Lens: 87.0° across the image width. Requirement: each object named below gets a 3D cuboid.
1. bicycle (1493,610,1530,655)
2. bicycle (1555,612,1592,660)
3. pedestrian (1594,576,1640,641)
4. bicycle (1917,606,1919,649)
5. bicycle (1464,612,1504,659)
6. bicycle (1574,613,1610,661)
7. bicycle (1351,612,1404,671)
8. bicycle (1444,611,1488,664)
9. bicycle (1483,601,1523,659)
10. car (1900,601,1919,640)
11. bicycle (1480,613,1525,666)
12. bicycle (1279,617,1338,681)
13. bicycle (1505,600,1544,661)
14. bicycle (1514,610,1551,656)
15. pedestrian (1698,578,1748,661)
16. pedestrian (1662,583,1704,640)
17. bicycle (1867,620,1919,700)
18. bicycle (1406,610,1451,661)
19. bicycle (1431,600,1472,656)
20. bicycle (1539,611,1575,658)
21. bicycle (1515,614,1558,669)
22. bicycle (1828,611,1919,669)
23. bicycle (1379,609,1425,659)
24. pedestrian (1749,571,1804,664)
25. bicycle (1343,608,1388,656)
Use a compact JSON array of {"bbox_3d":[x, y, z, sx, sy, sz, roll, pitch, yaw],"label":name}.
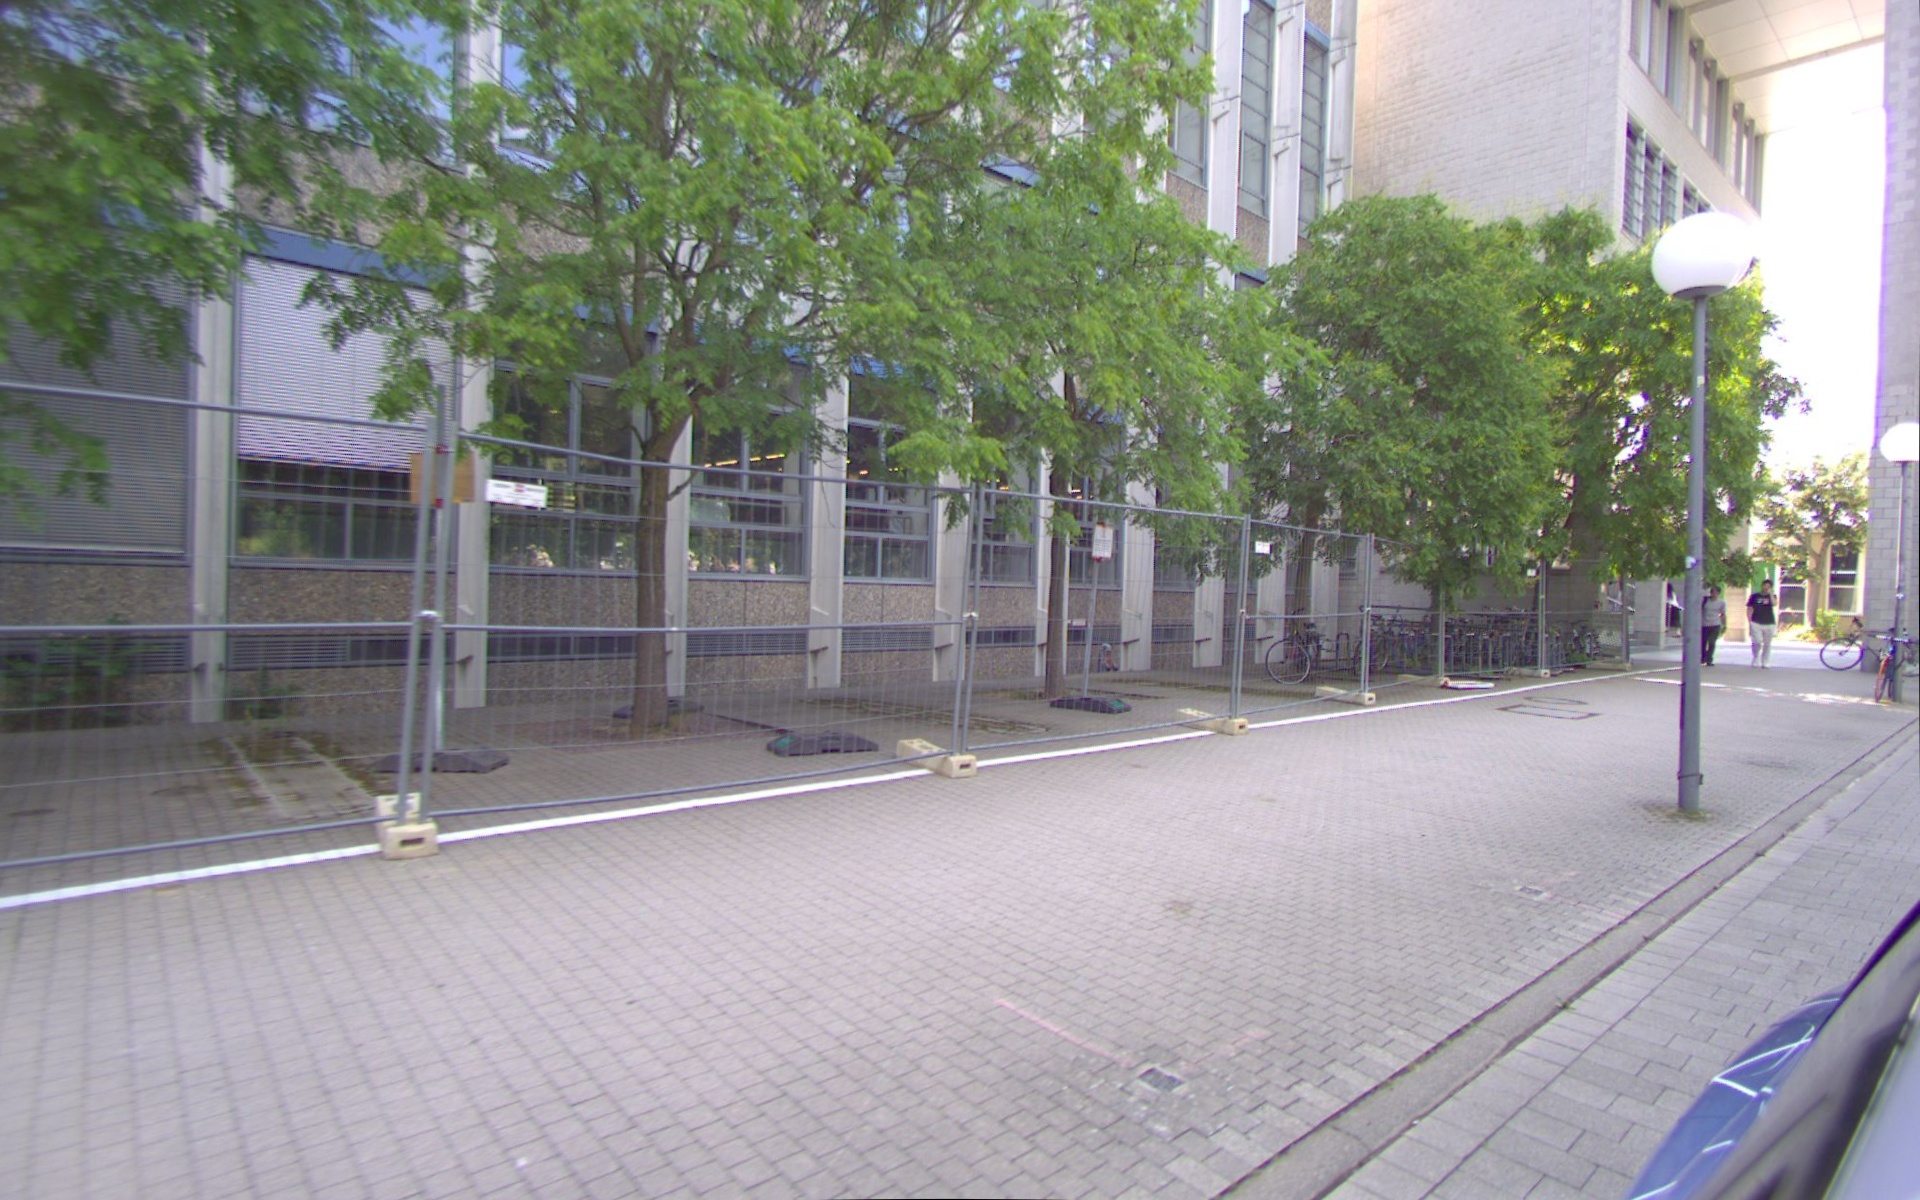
[{"bbox_3d":[11.738,0.684,21.512,0.291,0.917,1.424,2,1,45],"label":"bicycle"},{"bbox_3d":[12.430,0.713,20.491,0.291,0.917,1.424,2,1,45],"label":"bicycle"},{"bbox_3d":[19.005,0.246,29.266,0.757,1.837,0.958,0,0,-43],"label":"pedestrian"},{"bbox_3d":[27.662,0.824,27.845,1.881,1.178,0.595,4,2,44],"label":"bicycle"},{"bbox_3d":[10.606,0.710,20.472,0.291,0.898,1.424,2,1,45],"label":"bicycle"},{"bbox_3d":[12.643,0.728,20.229,0.291,0.917,1.424,2,1,45],"label":"bicycle"},{"bbox_3d":[6.997,0.665,16.933,0.290,0.917,1.779,2,1,40],"label":"bicycle"},{"bbox_3d":[9.329,0.678,18.636,0.291,0.917,1.424,2,1,45],"label":"bicycle"},{"bbox_3d":[10.843,0.584,20.211,0.291,1.108,1.424,2,1,45],"label":"bicycle"},{"bbox_3d":[39.075,0.853,39.187,1.625,1.494,3.774,-2,3,-41],"label":"car"},{"bbox_3d":[9.787,0.695,18.241,0.291,0.917,1.424,2,1,45],"label":"bicycle"},{"bbox_3d":[5.382,0.735,15.592,0.290,0.917,1.595,2,1,40],"label":"bicycle"},{"bbox_3d":[11.137,0.584,19.948,0.291,1.142,1.424,2,1,45],"label":"bicycle"},{"bbox_3d":[12.011,0.687,21.207,0.291,0.917,1.424,2,1,45],"label":"bicycle"},{"bbox_3d":[15.918,0.397,21.137,0.697,1.676,0.873,2,0,31],"label":"pedestrian"},{"bbox_3d":[21.459,0.338,30.053,0.797,1.637,0.736,2,1,19],"label":"pedestrian"},{"bbox_3d":[13.854,0.851,14.898,1.827,1.052,0.538,0,2,-42],"label":"bicycle"},{"bbox_3d":[8.857,0.657,19.120,0.291,0.917,1.424,2,1,45],"label":"bicycle"},{"bbox_3d":[10.187,0.570,20.958,0.291,1.113,1.424,2,1,45],"label":"bicycle"},{"bbox_3d":[12.301,0.701,20.847,0.291,0.917,1.424,2,1,45],"label":"bicycle"},{"bbox_3d":[10.205,0.718,17.896,0.291,0.917,1.424,2,1,45],"label":"bicycle"},{"bbox_3d":[18.335,0.789,20.008,1.739,1.052,0.442,3,0,45],"label":"bicycle"},{"bbox_3d":[8.528,0.643,19.505,0.291,0.917,1.424,2,1,45],"label":"bicycle"},{"bbox_3d":[16.560,0.333,20.544,0.697,1.826,0.873,2,0,31],"label":"pedestrian"},{"bbox_3d":[8.054,0.618,20.078,0.291,0.917,1.424,2,1,45],"label":"bicycle"}]
